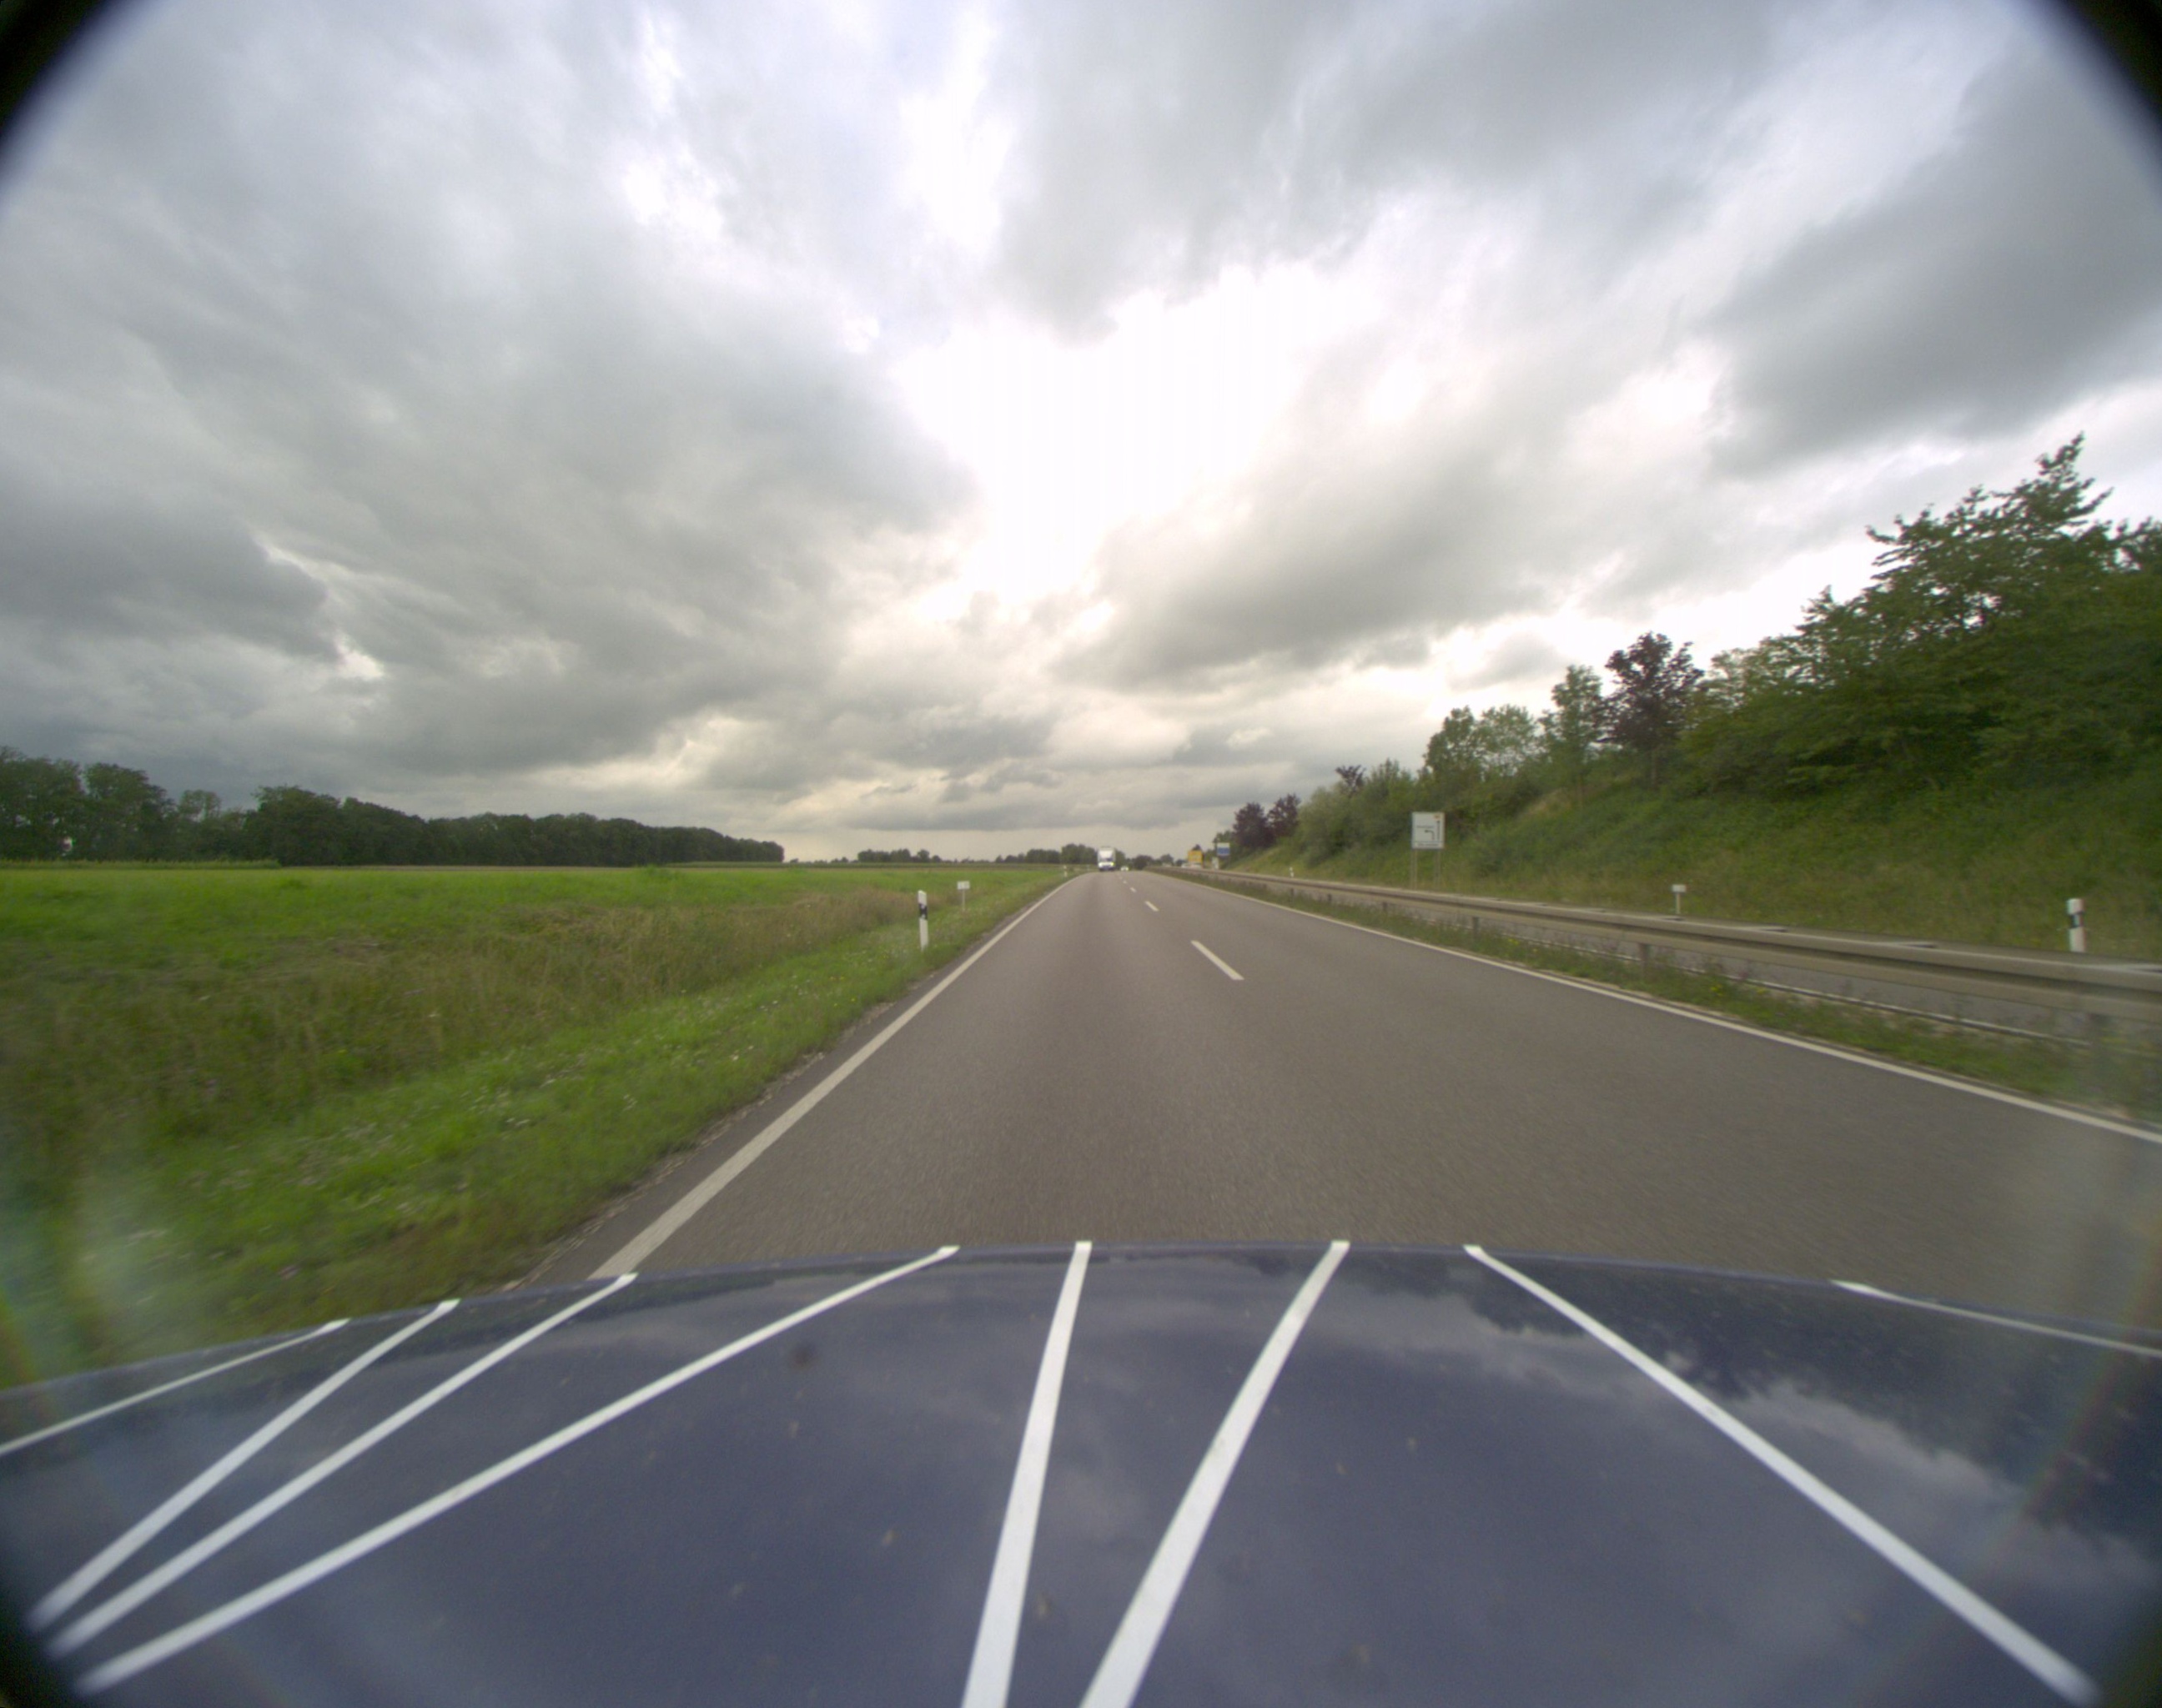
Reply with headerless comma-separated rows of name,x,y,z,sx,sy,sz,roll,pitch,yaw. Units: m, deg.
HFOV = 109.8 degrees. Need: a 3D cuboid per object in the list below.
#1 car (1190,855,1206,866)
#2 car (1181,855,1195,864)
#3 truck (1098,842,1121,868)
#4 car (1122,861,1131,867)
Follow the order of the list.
car,18.076,1.047,117.515,1.925,1.508,4.465,0,-2,1
car,19.914,1.048,141.194,1.998,1.508,4.990,0,-2,2
truck,4.335,0.177,115.349,2.933,3.651,8.449,0,-2,6
car,12.390,2.620,205.580,2.090,1.509,4.196,0,-2,6
